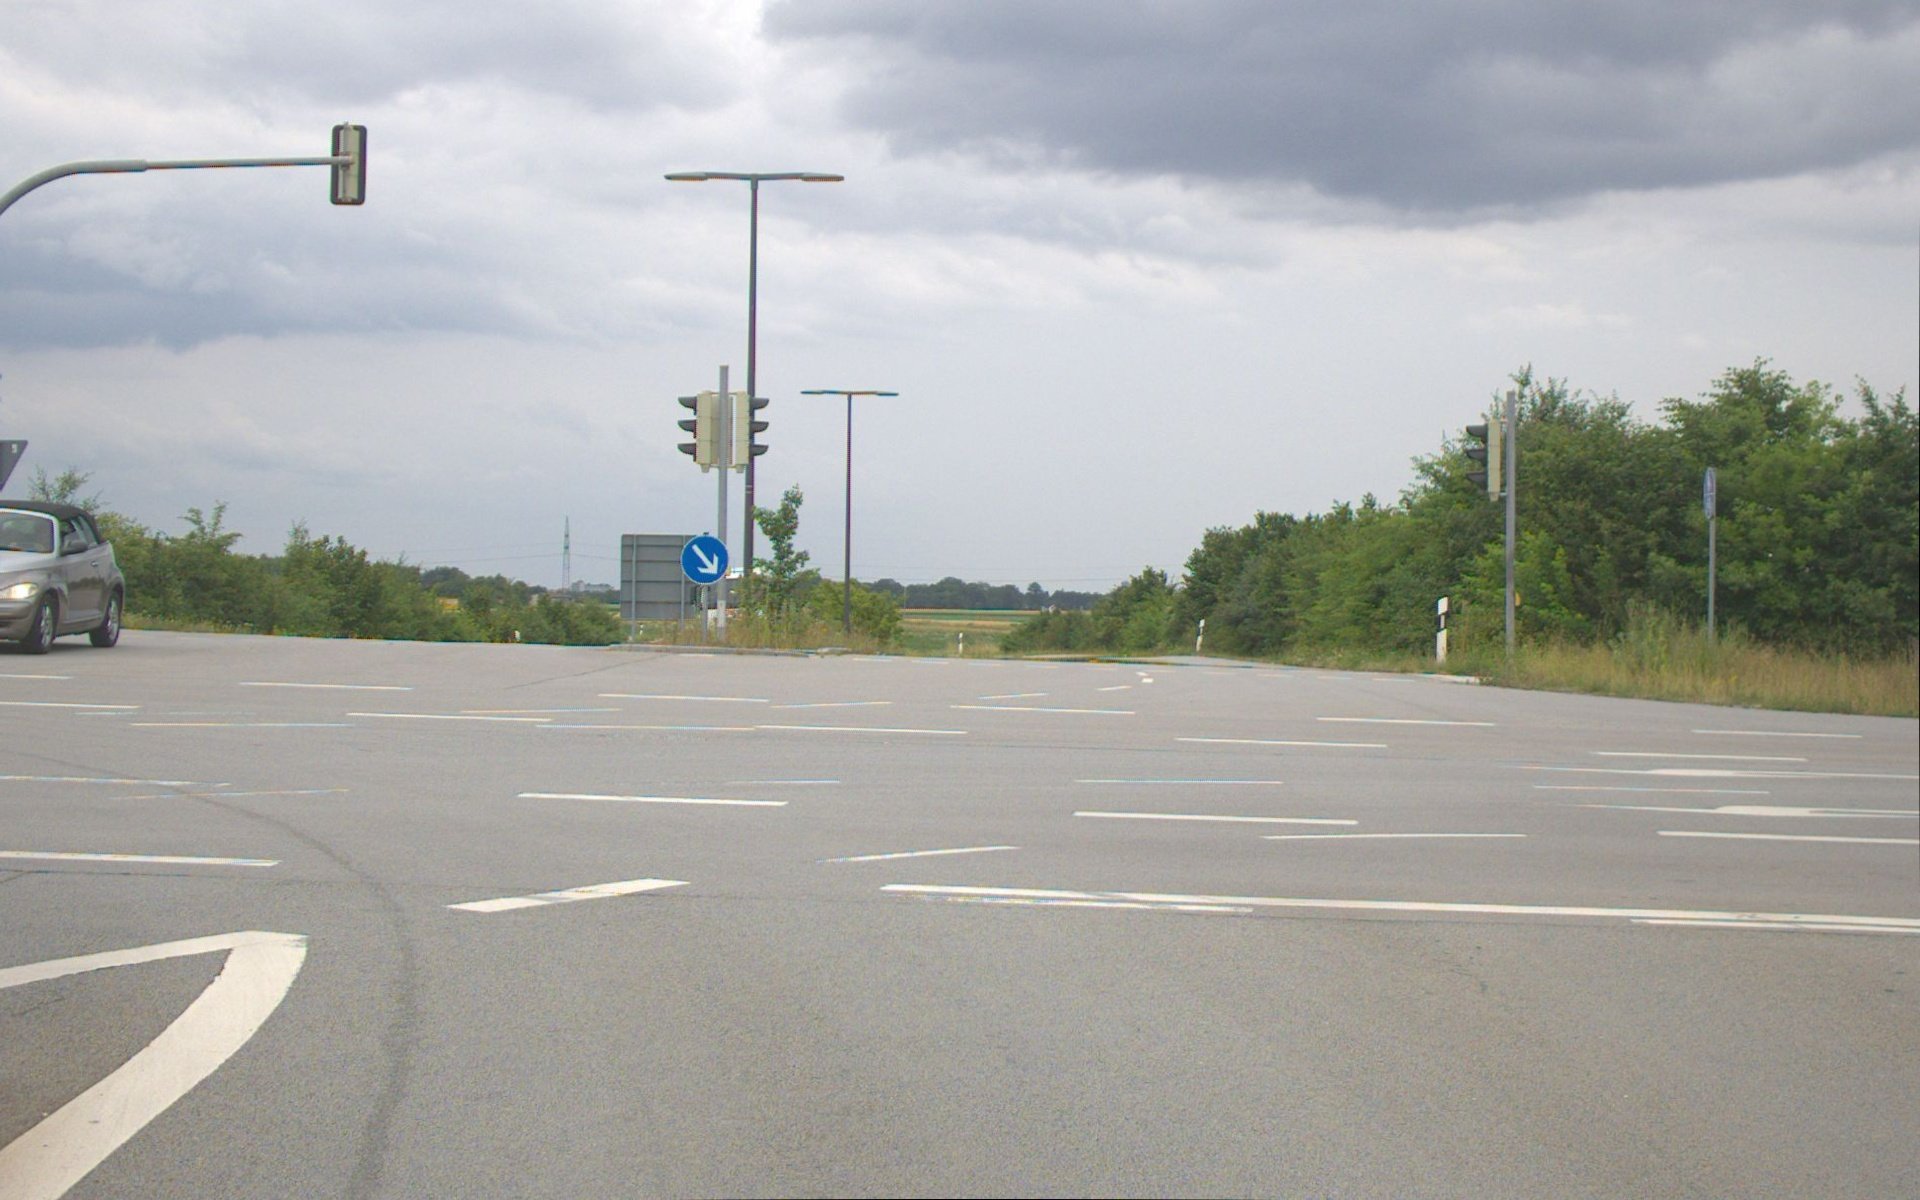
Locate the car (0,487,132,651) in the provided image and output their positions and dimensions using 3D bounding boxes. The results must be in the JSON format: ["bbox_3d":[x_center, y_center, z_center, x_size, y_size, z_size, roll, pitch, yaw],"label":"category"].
[{"bbox_3d":[-9.794,-0.366,34.832,1.810,1.515,4.243,2,2,-1],"label":"car"}]

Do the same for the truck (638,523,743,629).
[{"bbox_3d":[-9.019,-0.737,115.940,2.869,3.396,8.650,1,-1,0],"label":"truck"}]
